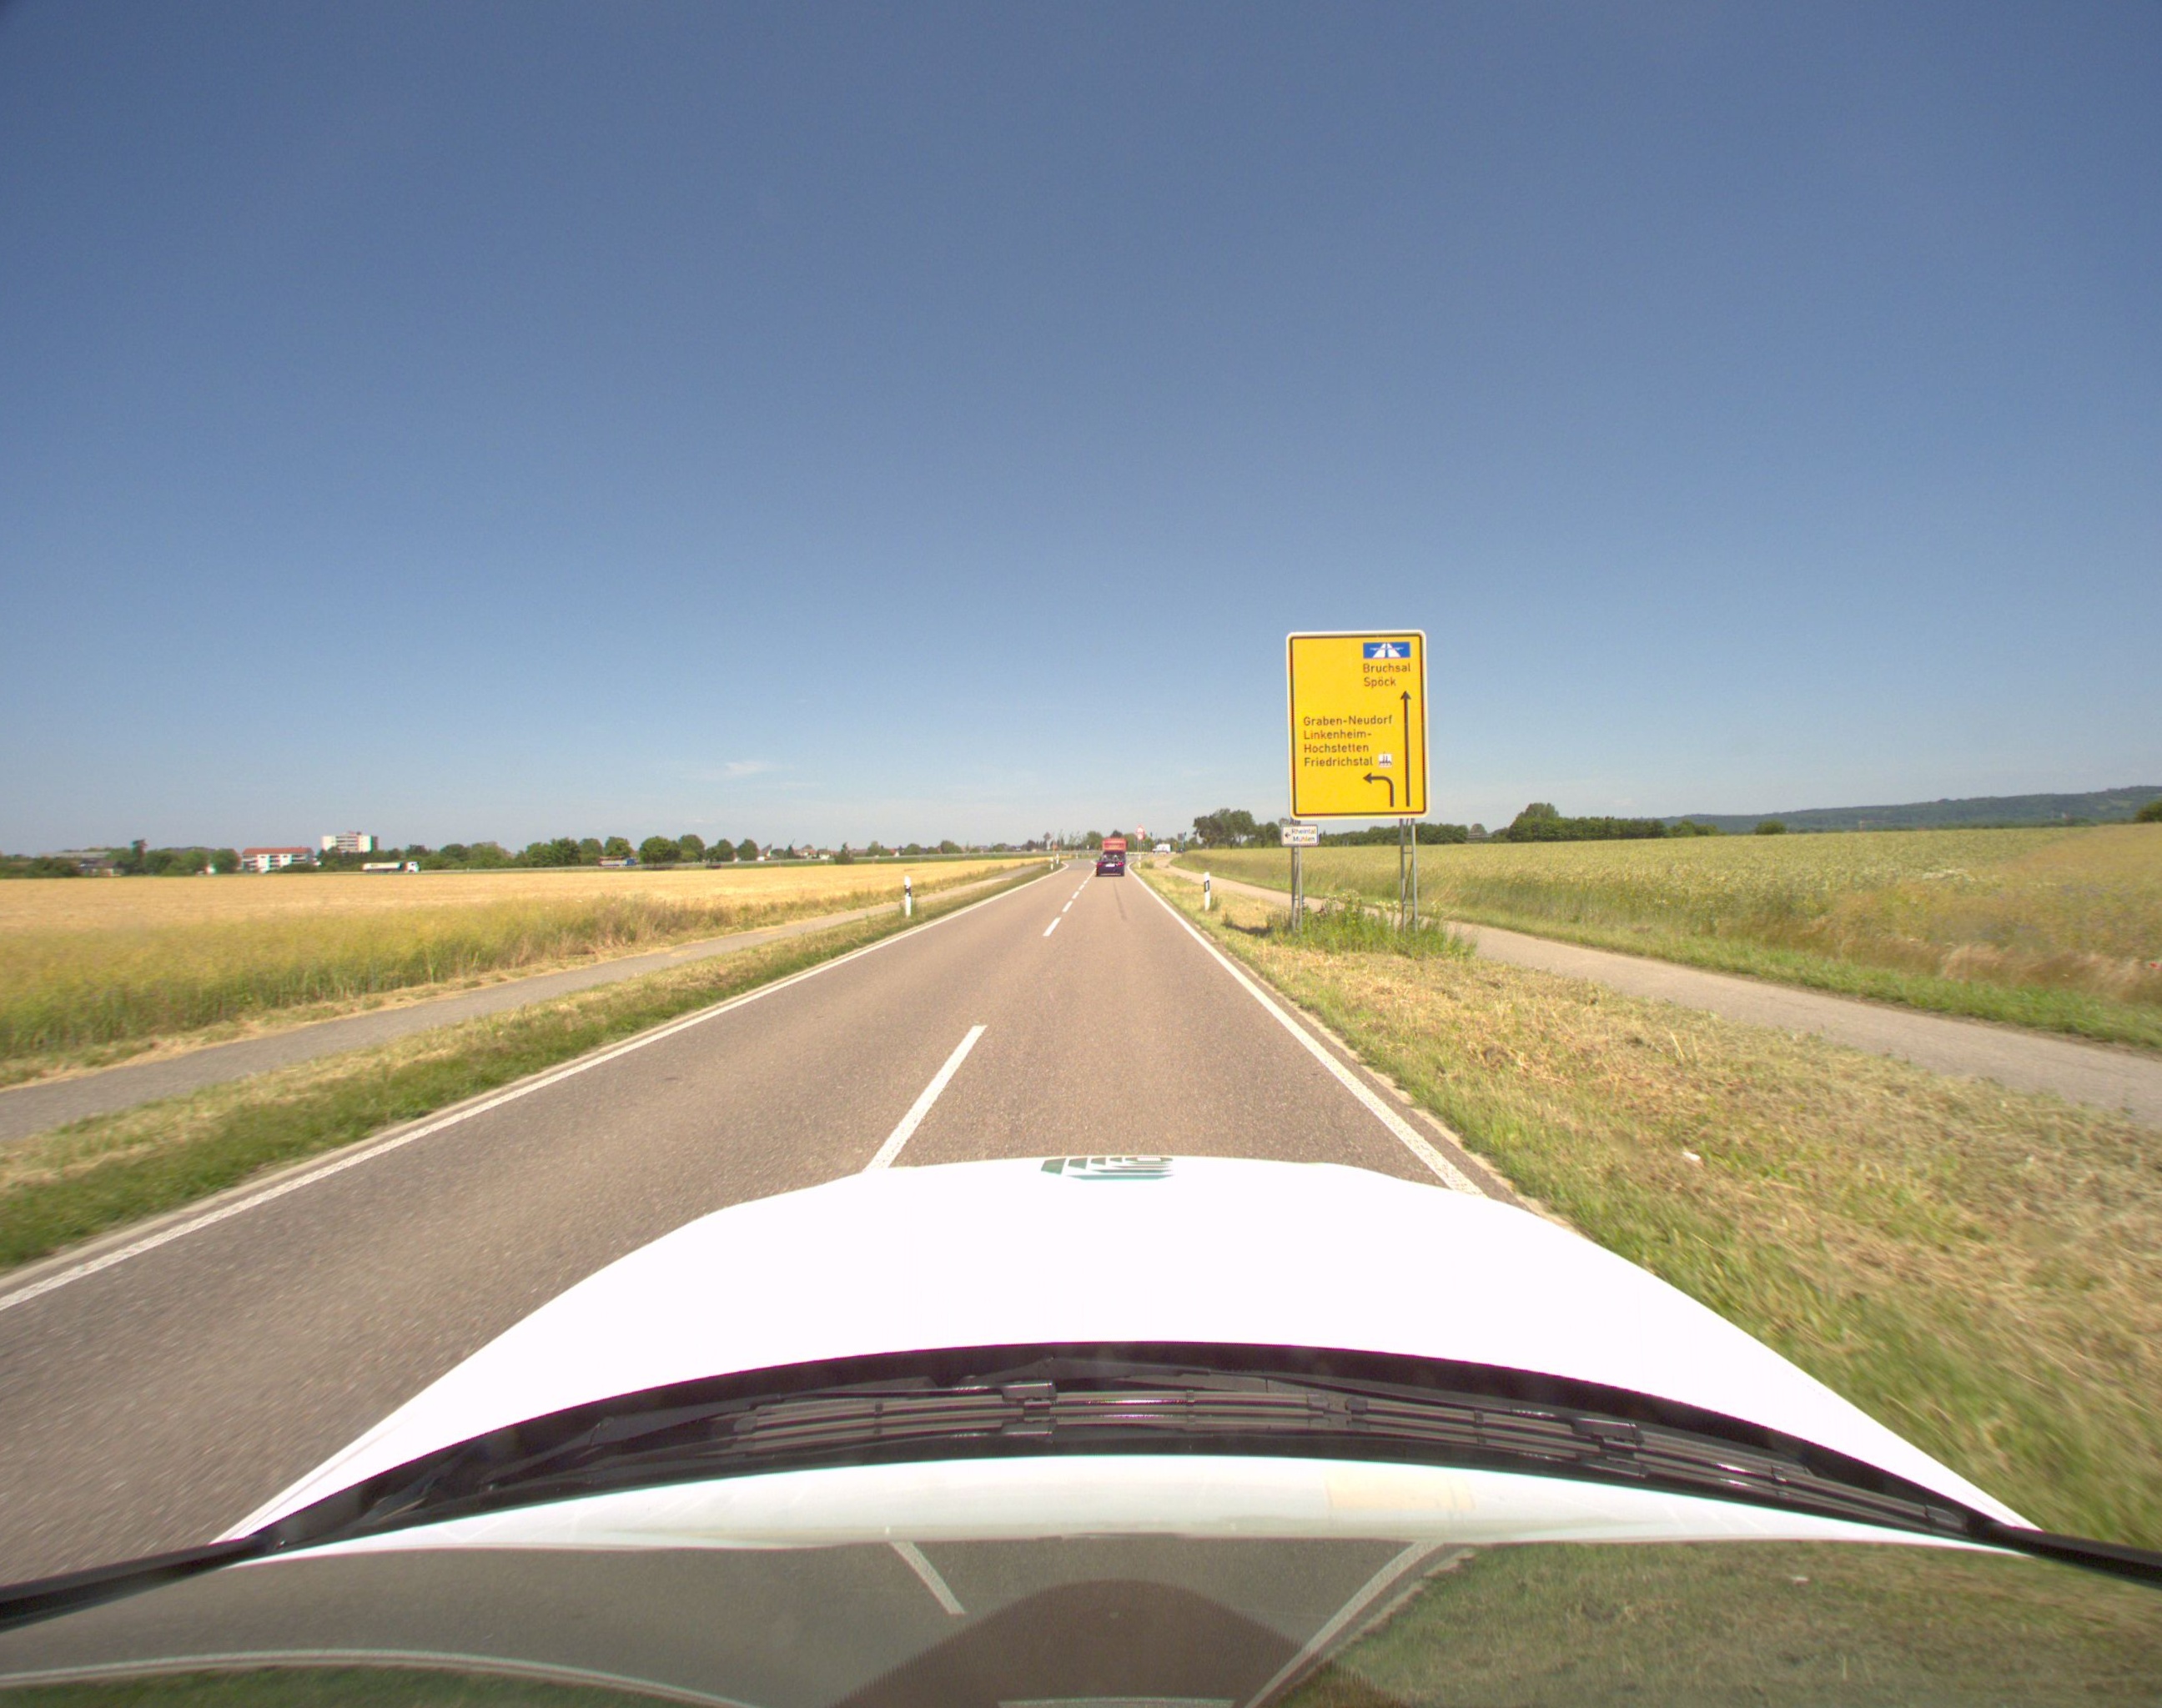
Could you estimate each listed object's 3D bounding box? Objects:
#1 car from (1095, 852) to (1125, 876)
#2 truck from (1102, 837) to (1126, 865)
[{"bbox_3d":[1.807,0.617,50.773,1.741,1.375,3.680,1,-1,2],"label":"car"},{"bbox_3d":[3.775,-0.318,93.603,2.704,3.052,8.167,0,-1,2],"label":"truck"}]
